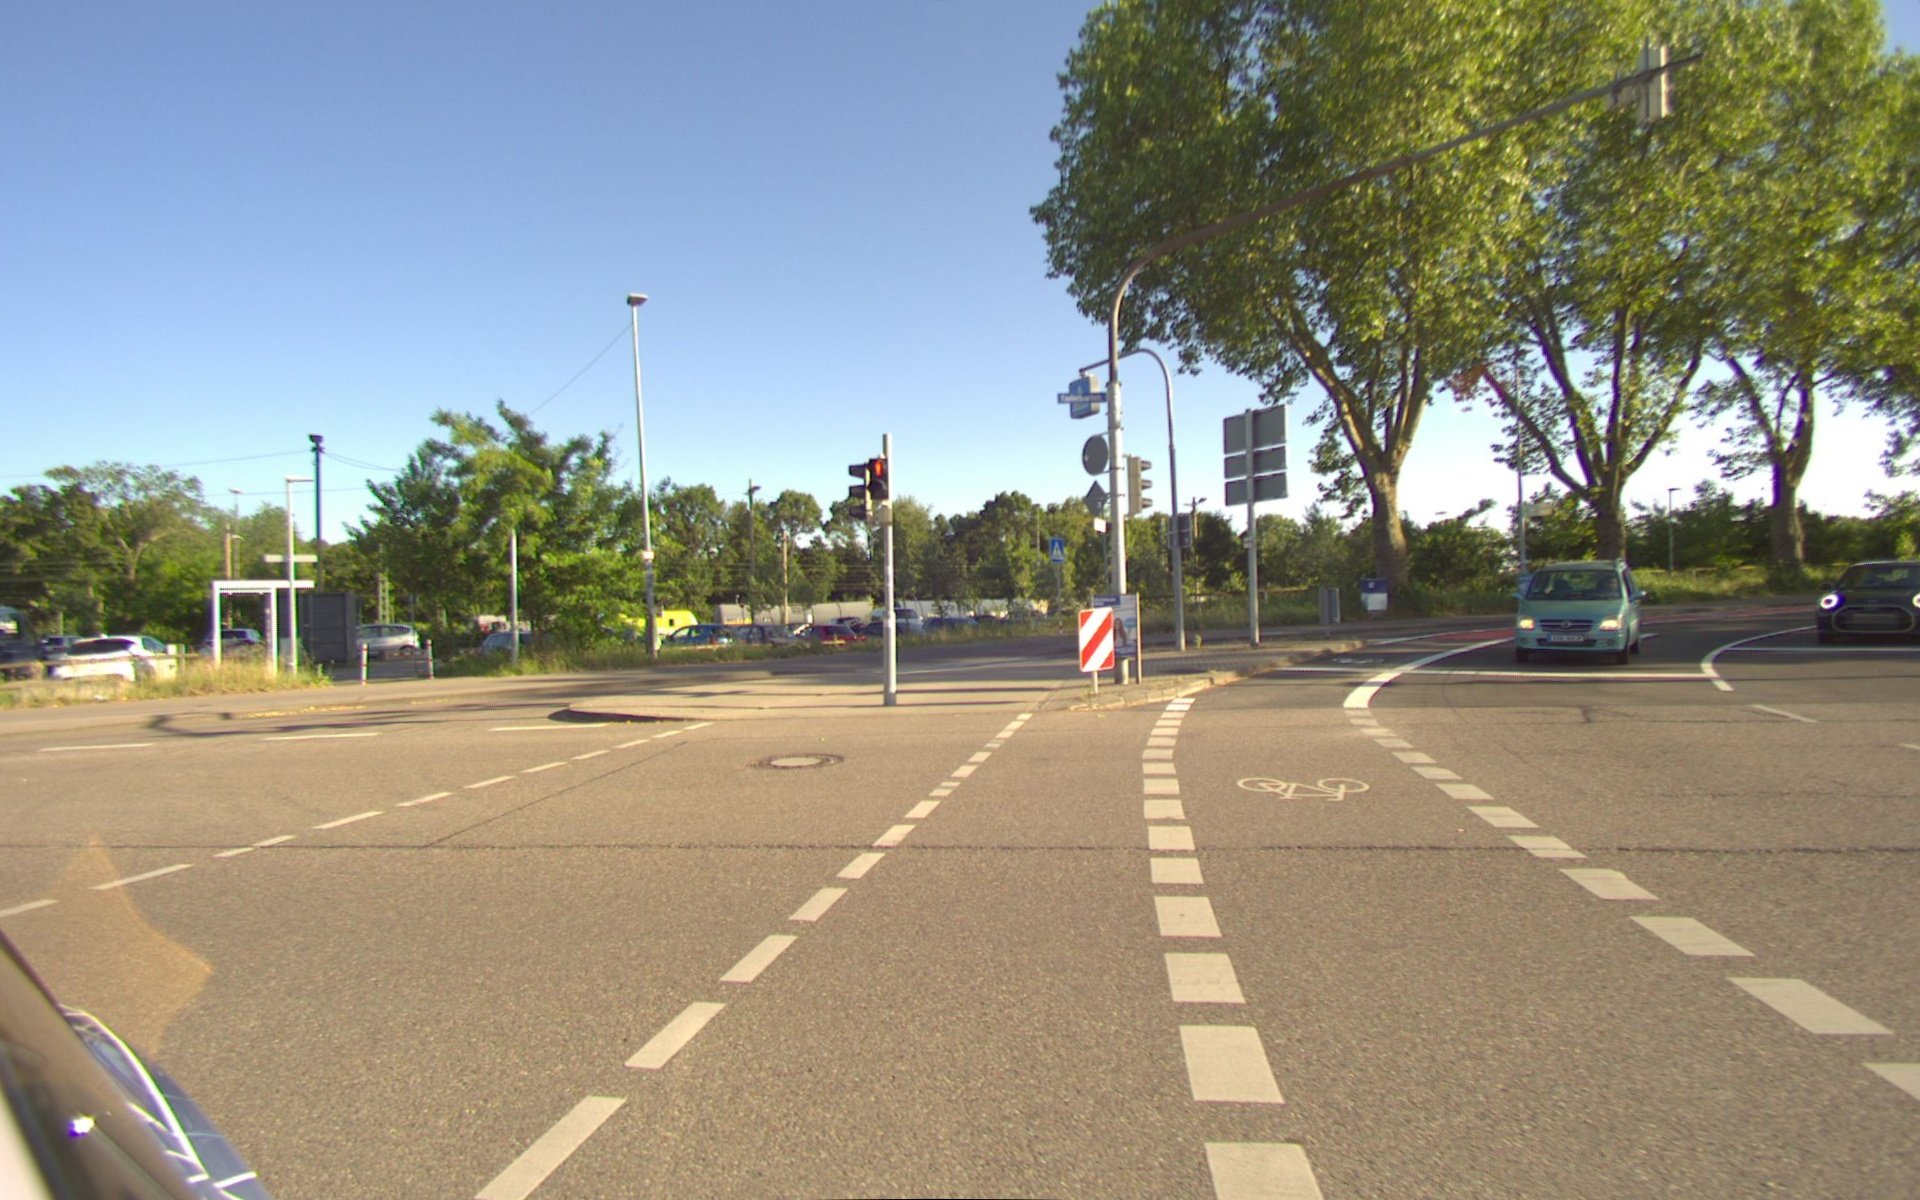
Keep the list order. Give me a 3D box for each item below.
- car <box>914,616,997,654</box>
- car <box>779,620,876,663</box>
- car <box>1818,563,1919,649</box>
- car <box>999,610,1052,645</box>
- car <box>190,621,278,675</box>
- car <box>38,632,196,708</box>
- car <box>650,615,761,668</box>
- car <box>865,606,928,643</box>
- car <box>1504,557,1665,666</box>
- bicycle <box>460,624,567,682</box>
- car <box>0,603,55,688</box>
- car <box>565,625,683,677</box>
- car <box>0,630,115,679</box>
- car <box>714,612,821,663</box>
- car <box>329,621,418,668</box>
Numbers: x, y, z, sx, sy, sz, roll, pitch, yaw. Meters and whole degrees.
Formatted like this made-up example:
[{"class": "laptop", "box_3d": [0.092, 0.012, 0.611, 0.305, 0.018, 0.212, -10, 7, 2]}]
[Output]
[{"class": "car", "box_3d": [-0.238, 1.487, 43.841, 1.965, 1.486, 4.013, -2, 0, -27]}, {"class": "car", "box_3d": [-5.090, 1.556, 38.527, 1.703, 1.470, 4.006, -2, 0, -41]}, {"class": "car", "box_3d": [17.230, 0.060, 18.375, 3.875, 1.438, 1.912, -2, 0, -41]}, {"class": "car", "box_3d": [3.675, 1.504, 57.208, 1.710, 1.852, 4.050, -2, 0, -15]}, {"class": "car", "box_3d": [-27.699, 1.781, 38.737, 1.952, 1.822, 4.216, -2, 0, -25]}, {"class": "car", "box_3d": [-20.186, 1.596, 24.451, 1.859, 1.522, 4.288, -2, 0, -25]}, {"class": "car", "box_3d": [-8.916, 1.411, 35.314, 3.852, 1.678, 1.985, -2, 0, 44]}, {"class": "car", "box_3d": [-3.468, 1.291, 54.536, 2.162, 1.852, 5.041, -2, 0, -17]}, {"class": "car", "box_3d": [10.826, 0.142, 17.407, 1.918, 1.648, 4.069, -1, 0, 38]}, {"class": "bicycle", "box_3d": [-13.405, 1.589, 30.397, 2.925, 1.628, 0.903, -2, 0, 12]}, {"class": "car", "box_3d": [-30.270, 1.407, 30.954, 2.360, 2.536, 5.530, -2, 0, -26]}, {"class": "car", "box_3d": [-10.802, 1.592, 32.409, 4.001, 1.492, 1.936, -2, 0, 44]}, {"class": "car", "box_3d": [-32.491, 1.913, 36.473, 1.952, 1.510, 4.216, -2, 0, -23]}, {"class": "car", "box_3d": [-7.031, 1.334, 36.693, 4.001, 1.696, 1.814, -2, 0, 44]}, {"class": "car", "box_3d": [-24.451, 1.825, 42.143, 2.145, 1.743, 4.495, -2, 0, -45]}]
